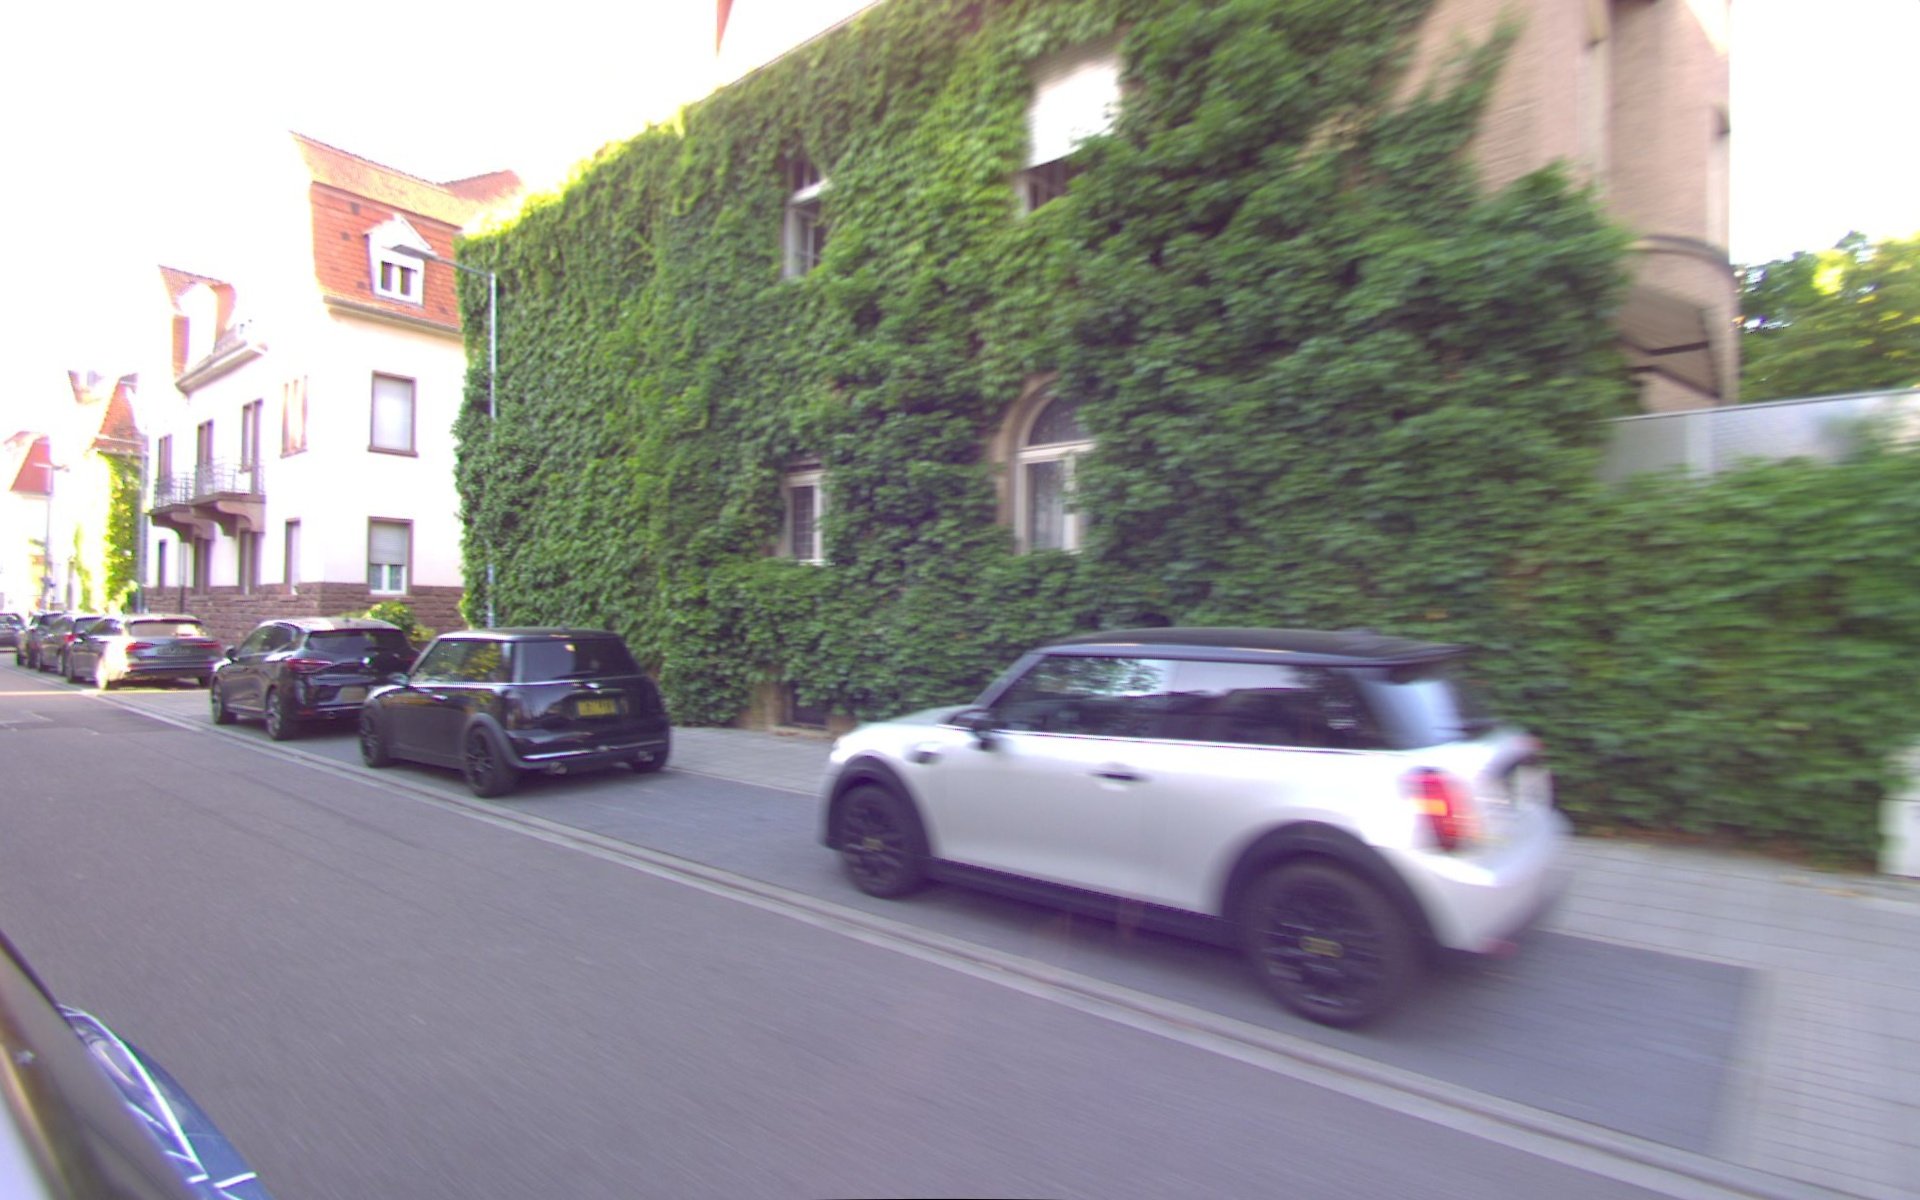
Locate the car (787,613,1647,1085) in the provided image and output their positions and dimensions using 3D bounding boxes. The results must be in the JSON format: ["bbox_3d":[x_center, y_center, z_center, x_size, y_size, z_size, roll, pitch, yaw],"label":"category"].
[{"bbox_3d":[1.012,0.812,5.150,3.917,1.471,1.686,-1,0,42],"label":"car"}]

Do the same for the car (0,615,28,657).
[{"bbox_3d":[-35.079,1.284,36.591,4.003,1.458,1.636,-1,0,41],"label":"car"}]

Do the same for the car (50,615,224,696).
[{"bbox_3d":[-16.879,1.047,20.664,4.771,1.472,1.775,-1,-2,39],"label":"car"}]

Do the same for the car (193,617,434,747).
[{"bbox_3d":[-8.657,0.962,13.413,4.097,1.431,1.632,-1,0,41],"label":"car"}]

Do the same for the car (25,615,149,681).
[{"bbox_3d":[-21.299,1.115,24.642,3.840,1.458,1.637,-1,0,39],"label":"car"}]

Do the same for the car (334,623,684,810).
[{"bbox_3d":[-4.416,0.938,9.674,3.719,1.390,1.669,-1,0,41],"label":"car"}]

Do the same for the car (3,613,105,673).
[{"bbox_3d":[-24.610,1.118,27.465,3.762,1.497,1.636,-1,0,41],"label":"car"}]
